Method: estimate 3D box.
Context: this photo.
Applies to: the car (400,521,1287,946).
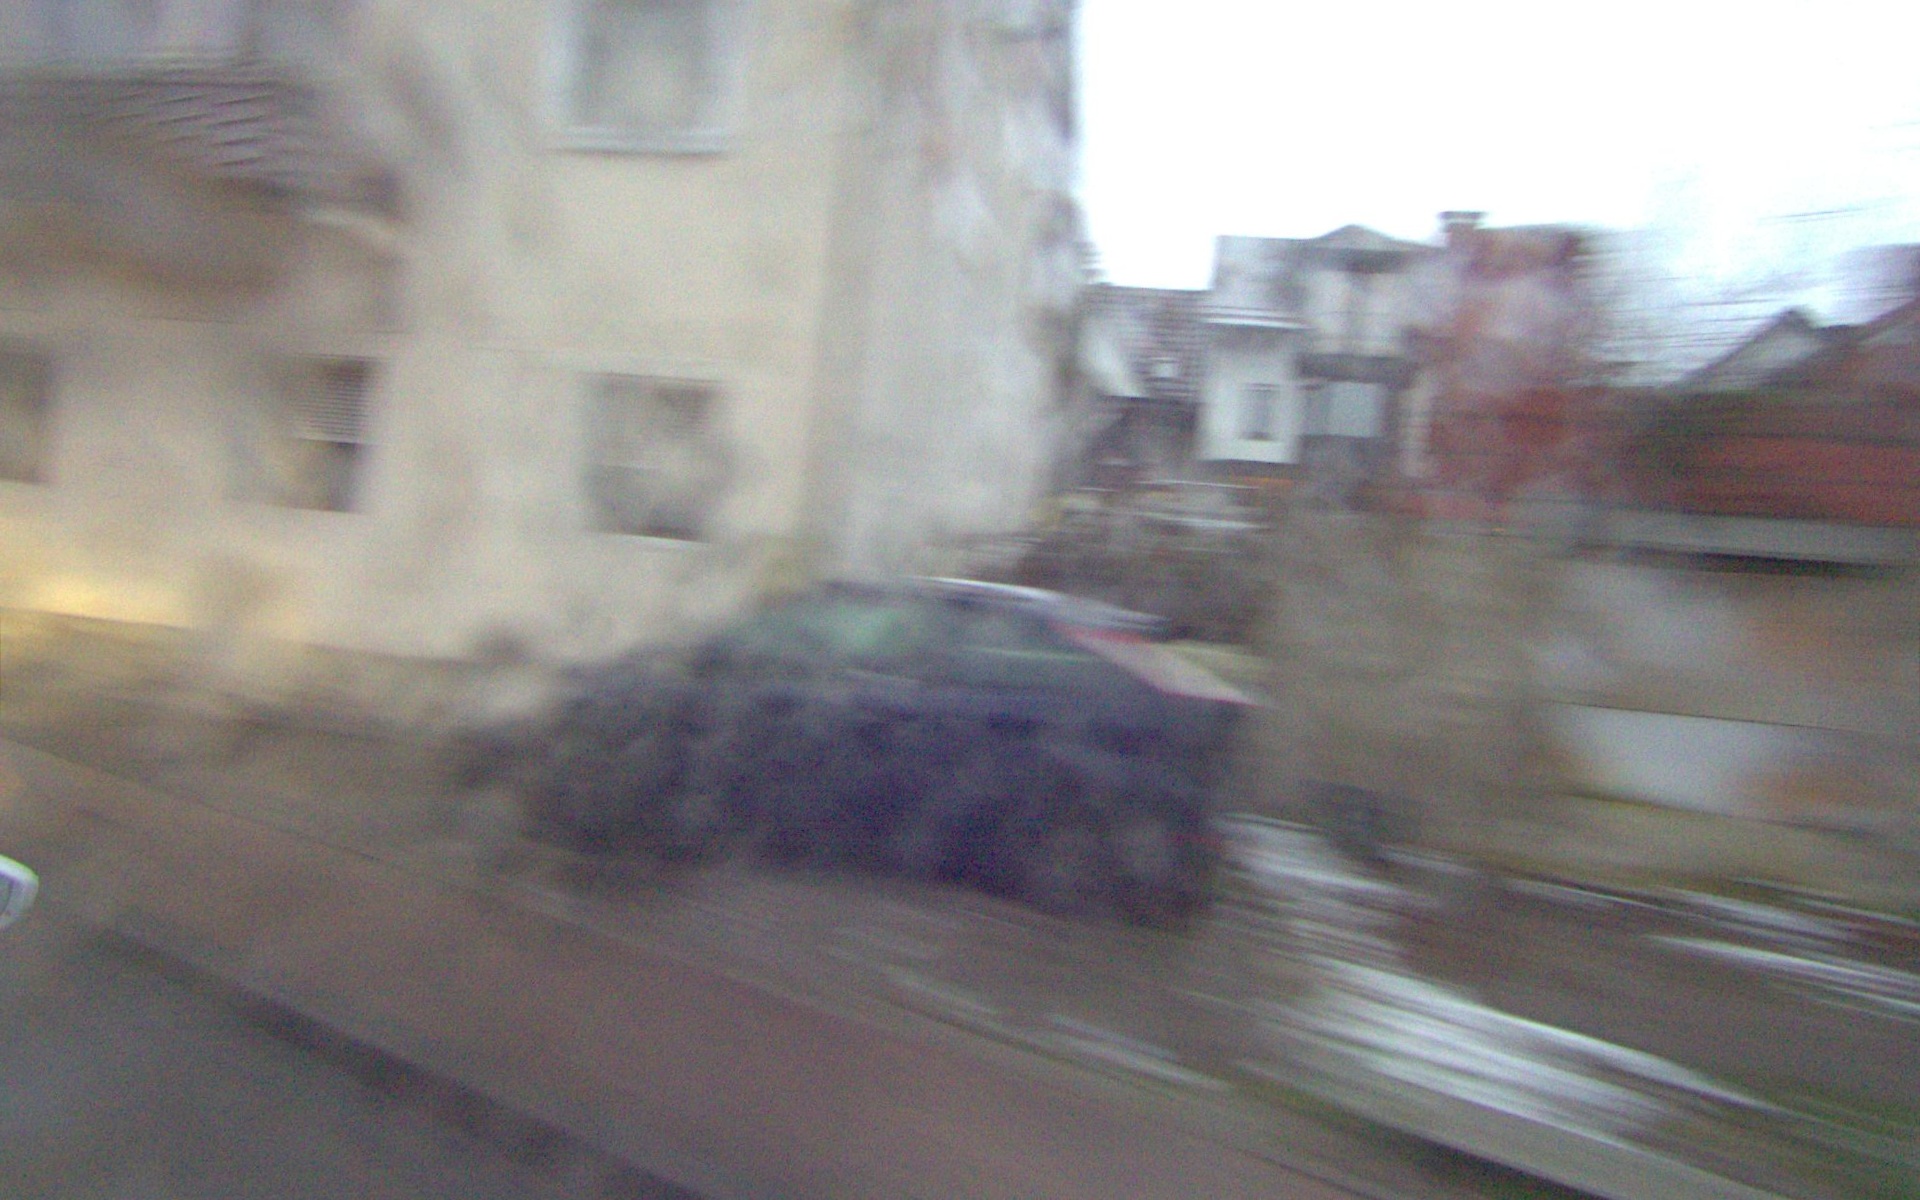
[{"bbox_3d":[-0.561,0.555,5.590,4.196,1.506,1.812,5,1,10],"label":"car"}]
